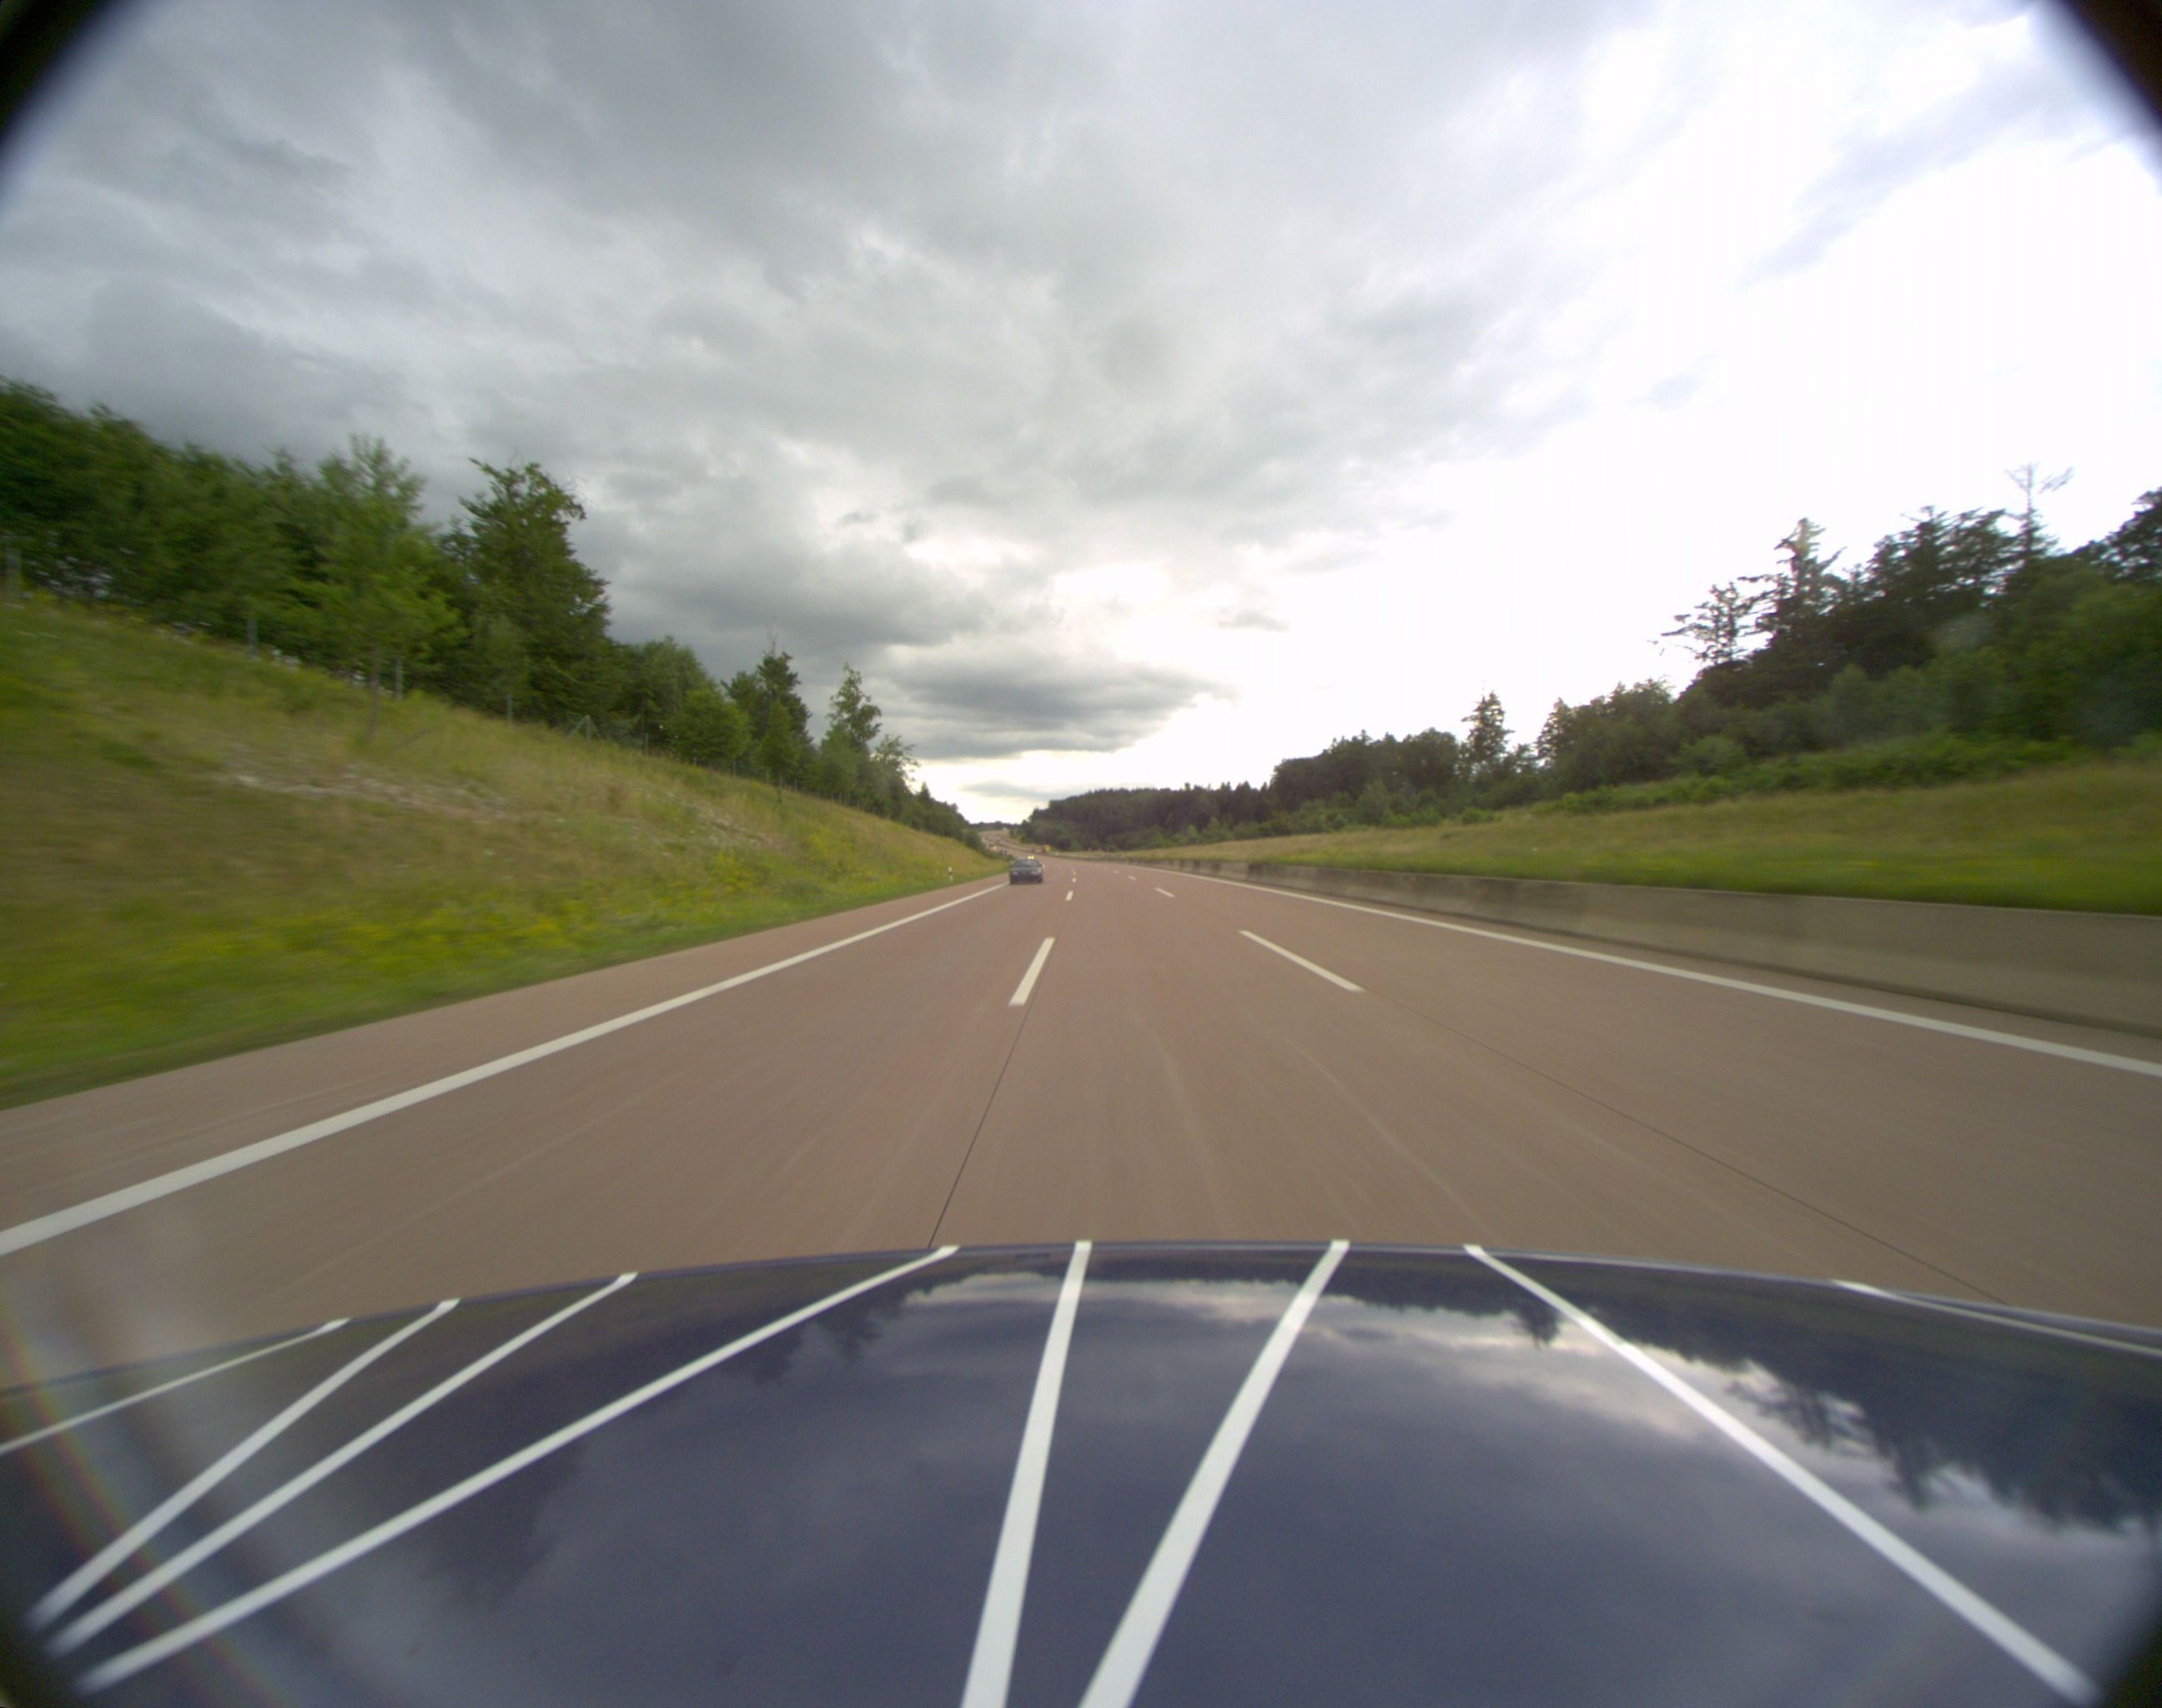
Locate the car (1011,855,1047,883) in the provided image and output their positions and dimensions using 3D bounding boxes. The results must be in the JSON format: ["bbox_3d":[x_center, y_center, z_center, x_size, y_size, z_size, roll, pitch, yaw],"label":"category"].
[{"bbox_3d":[-2.929,0.822,43.217,1.676,1.395,4.232,-1,2,1],"label":"car"}]
